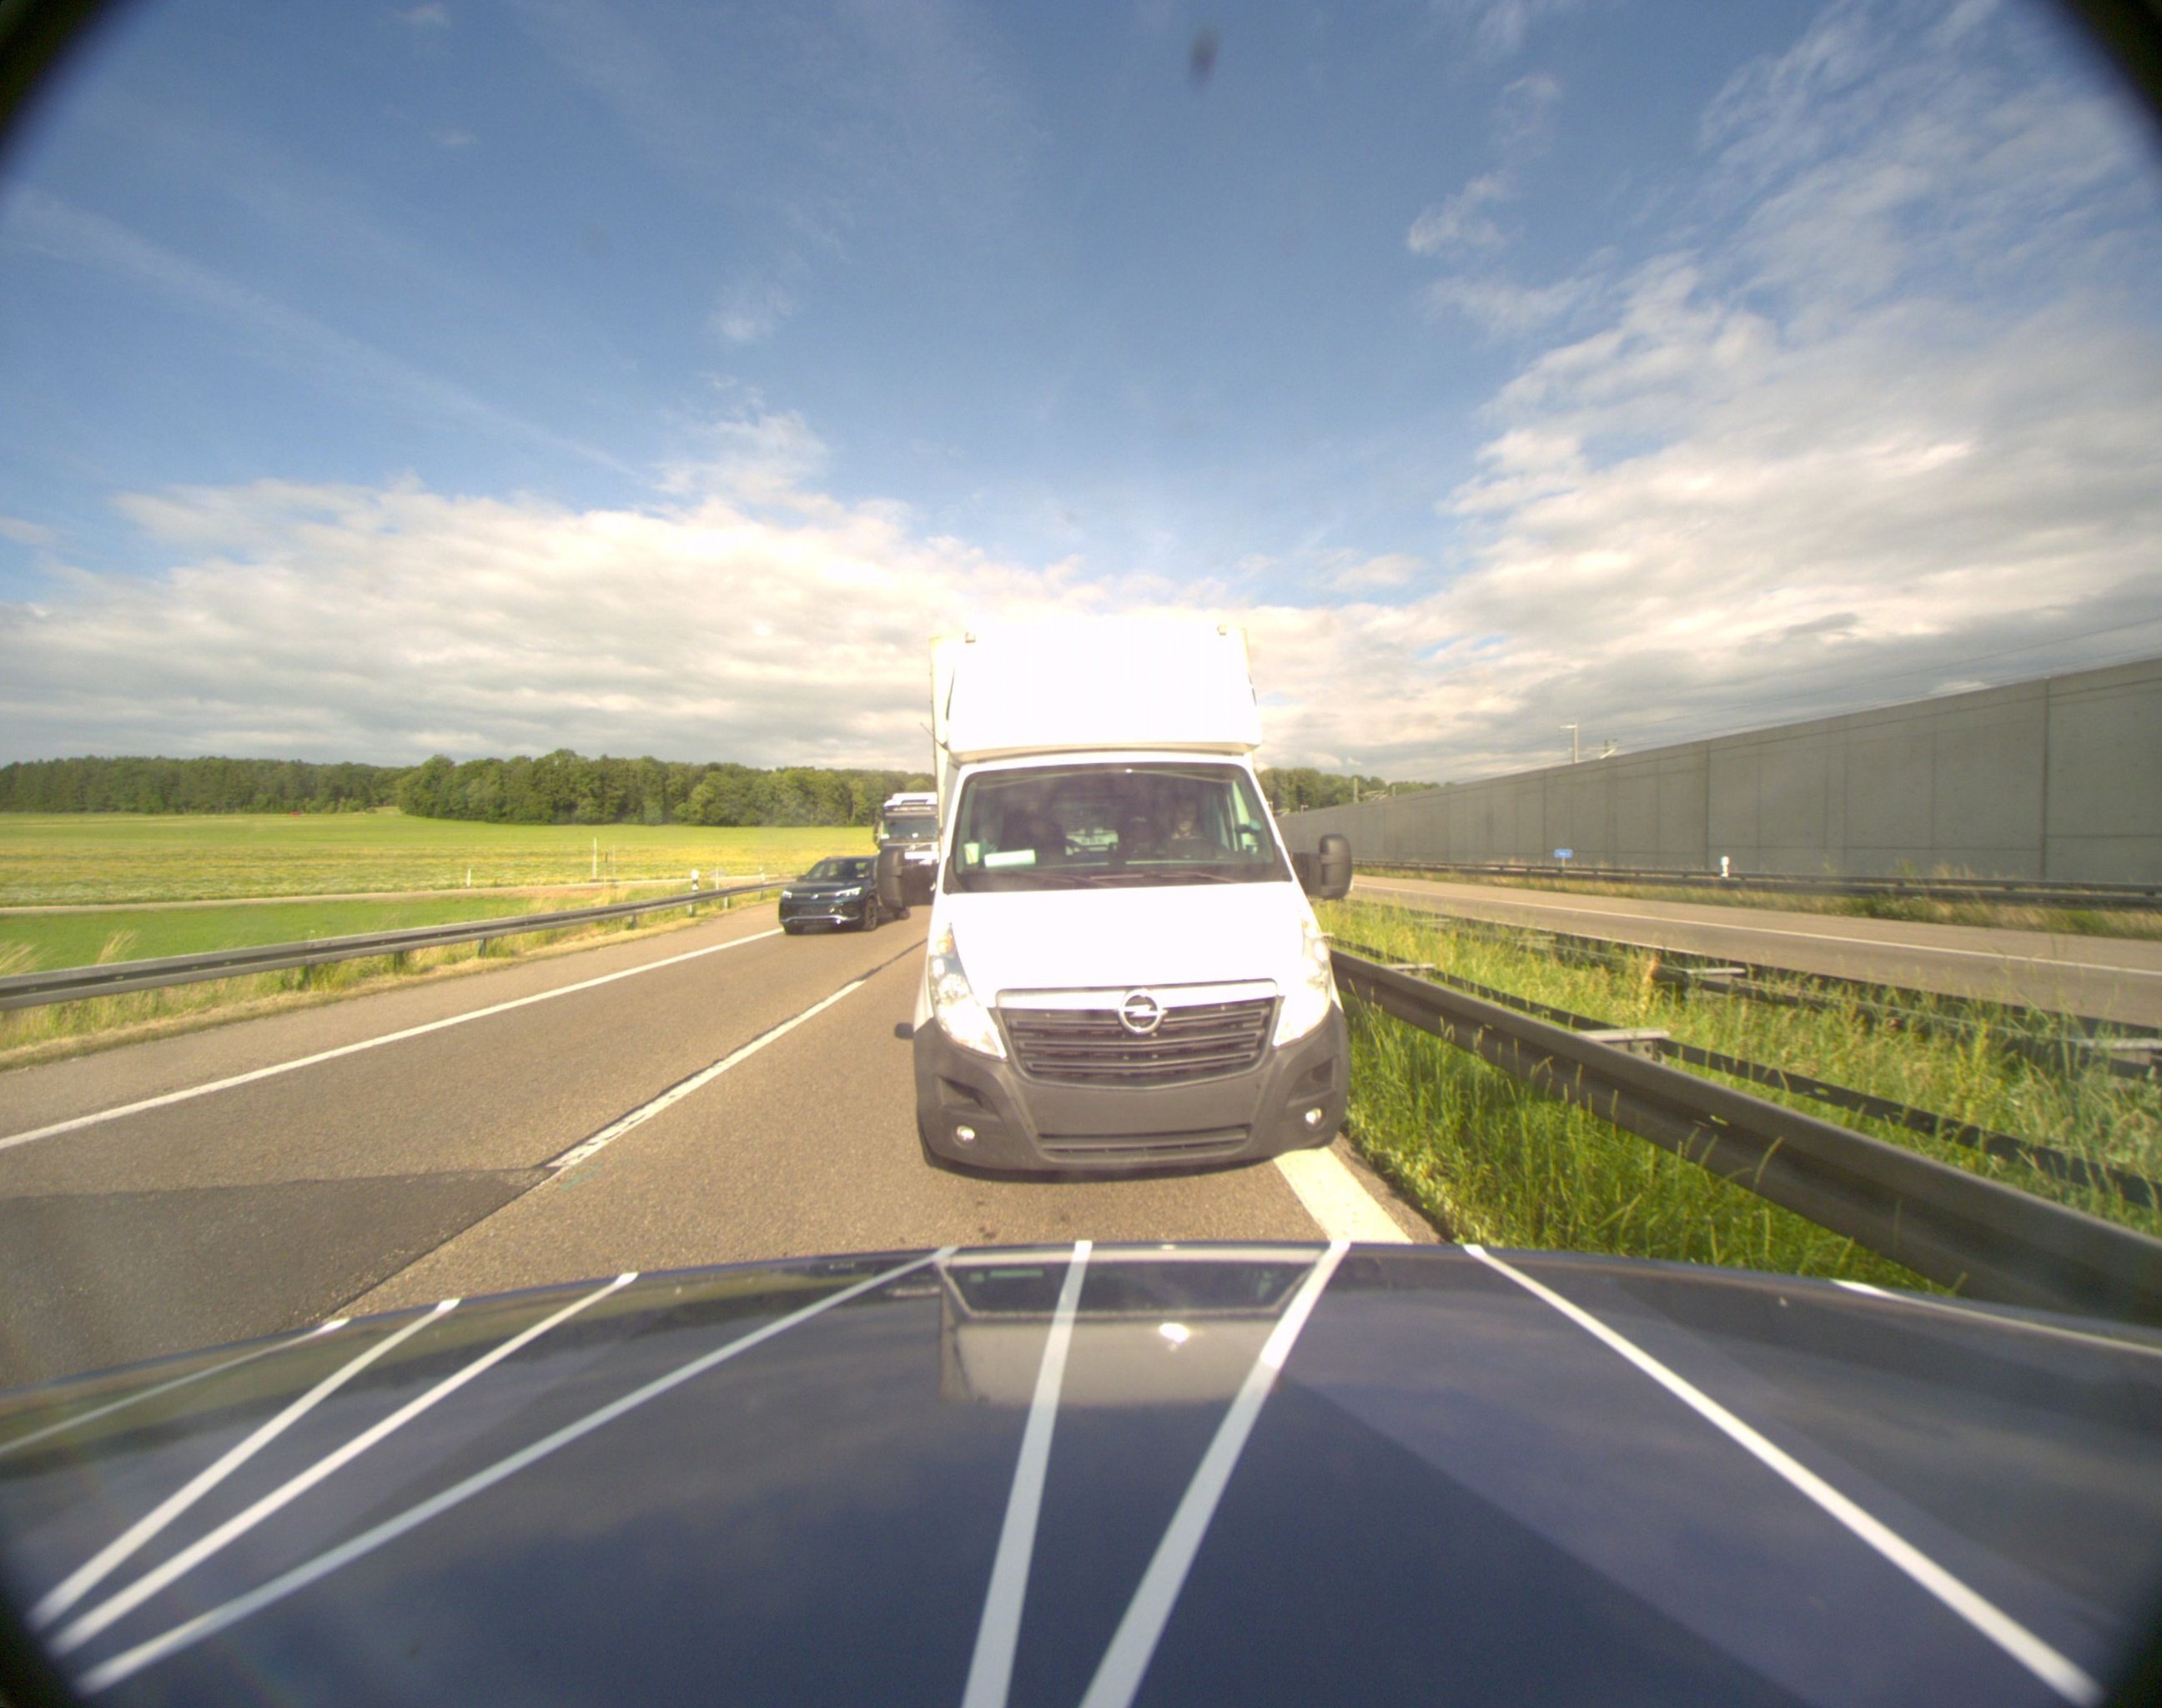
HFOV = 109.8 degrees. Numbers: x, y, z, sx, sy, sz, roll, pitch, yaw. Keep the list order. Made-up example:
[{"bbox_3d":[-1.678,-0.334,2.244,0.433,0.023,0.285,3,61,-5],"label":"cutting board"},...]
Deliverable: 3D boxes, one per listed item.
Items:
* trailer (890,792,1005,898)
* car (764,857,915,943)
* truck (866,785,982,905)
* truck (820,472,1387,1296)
[{"bbox_3d":[-5.699,-0.415,35.003,2.826,3.959,12.127,-2,1,1],"label":"trailer"},{"bbox_3d":[-5.279,0.933,17.250,1.998,1.587,4.118,-2,1,1],"label":"car"},{"bbox_3d":[-5.777,-0.344,29.149,2.842,3.967,6.500,-2,1,1],"label":"truck"},{"bbox_3d":[0.147,0.088,6.811,2.060,3.088,7.803,-2,1,1],"label":"truck"}]
